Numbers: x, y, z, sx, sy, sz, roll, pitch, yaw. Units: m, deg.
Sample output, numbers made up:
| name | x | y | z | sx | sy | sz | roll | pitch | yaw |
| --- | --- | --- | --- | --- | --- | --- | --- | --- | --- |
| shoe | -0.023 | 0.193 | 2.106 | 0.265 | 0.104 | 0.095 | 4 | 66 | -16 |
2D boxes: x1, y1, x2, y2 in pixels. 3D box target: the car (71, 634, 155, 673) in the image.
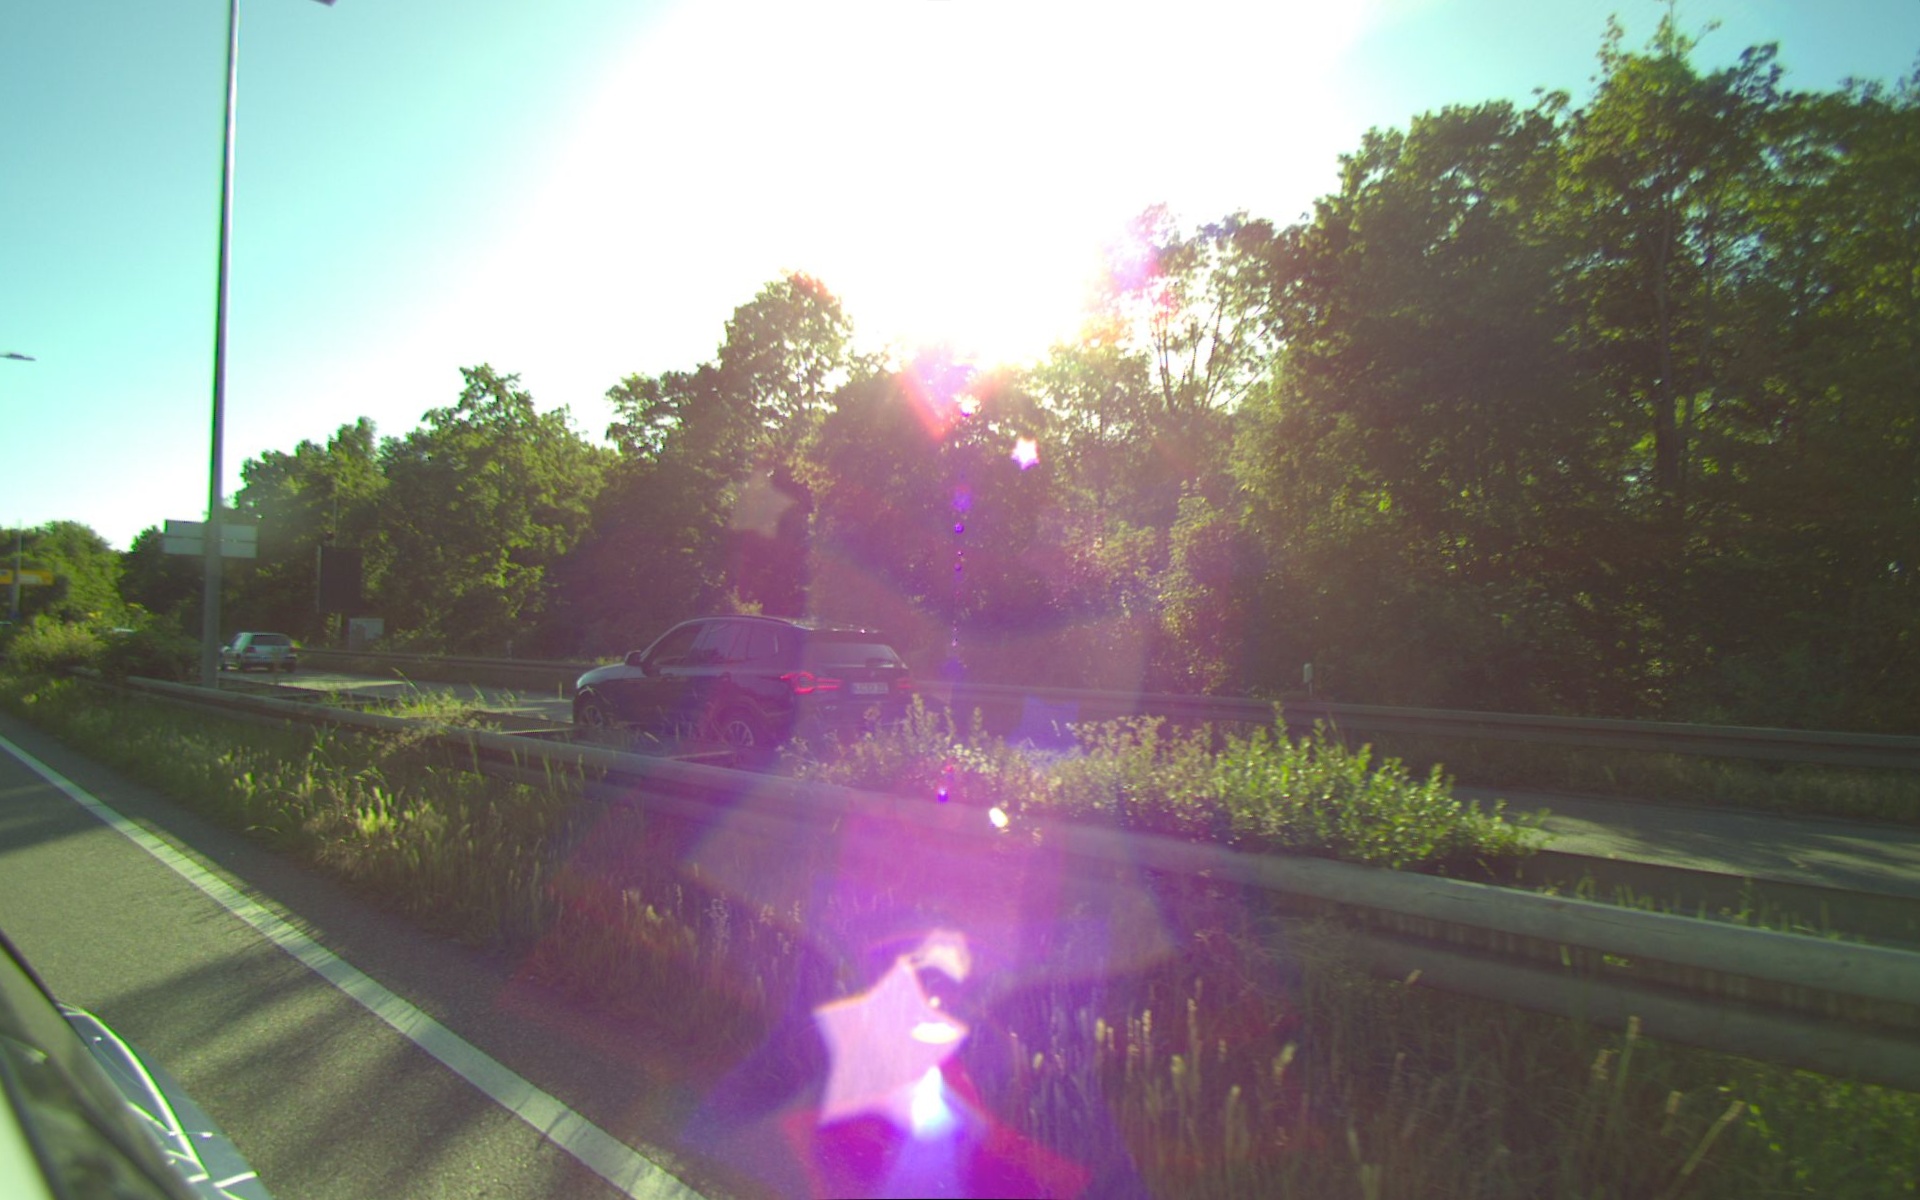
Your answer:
| name | x | y | z | sx | sy | sz | roll | pitch | yaw |
| --- | --- | --- | --- | --- | --- | --- | --- | --- | --- |
| car | -33.054 | 2.048 | 39.461 | 4.428 | 1.461 | 1.733 | -2 | -3 | 40 |

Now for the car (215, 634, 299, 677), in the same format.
| name | x | y | z | sx | sy | sz | roll | pitch | yaw |
| --- | --- | --- | --- | --- | --- | --- | --- | --- | --- |
| car | -25.440 | 1.995 | 36.588 | 3.714 | 1.461 | 1.732 | -2 | -5 | 44 |

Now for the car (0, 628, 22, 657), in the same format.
| name | x | y | z | sx | sy | sz | roll | pitch | yaw |
| --- | --- | --- | --- | --- | --- | --- | --- | --- | --- |
| car | -59.791 | 2.637 | 62.792 | 4.710 | 1.771 | 1.822 | -2 | -3 | 42 |

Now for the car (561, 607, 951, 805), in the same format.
| name | x | y | z | sx | sy | sz | roll | pitch | yaw |
| --- | --- | --- | --- | --- | --- | --- | --- | --- | --- |
| car | -2.368 | 0.991 | 10.983 | 4.545 | 1.723 | 1.766 | -2 | -3 | 41 |
